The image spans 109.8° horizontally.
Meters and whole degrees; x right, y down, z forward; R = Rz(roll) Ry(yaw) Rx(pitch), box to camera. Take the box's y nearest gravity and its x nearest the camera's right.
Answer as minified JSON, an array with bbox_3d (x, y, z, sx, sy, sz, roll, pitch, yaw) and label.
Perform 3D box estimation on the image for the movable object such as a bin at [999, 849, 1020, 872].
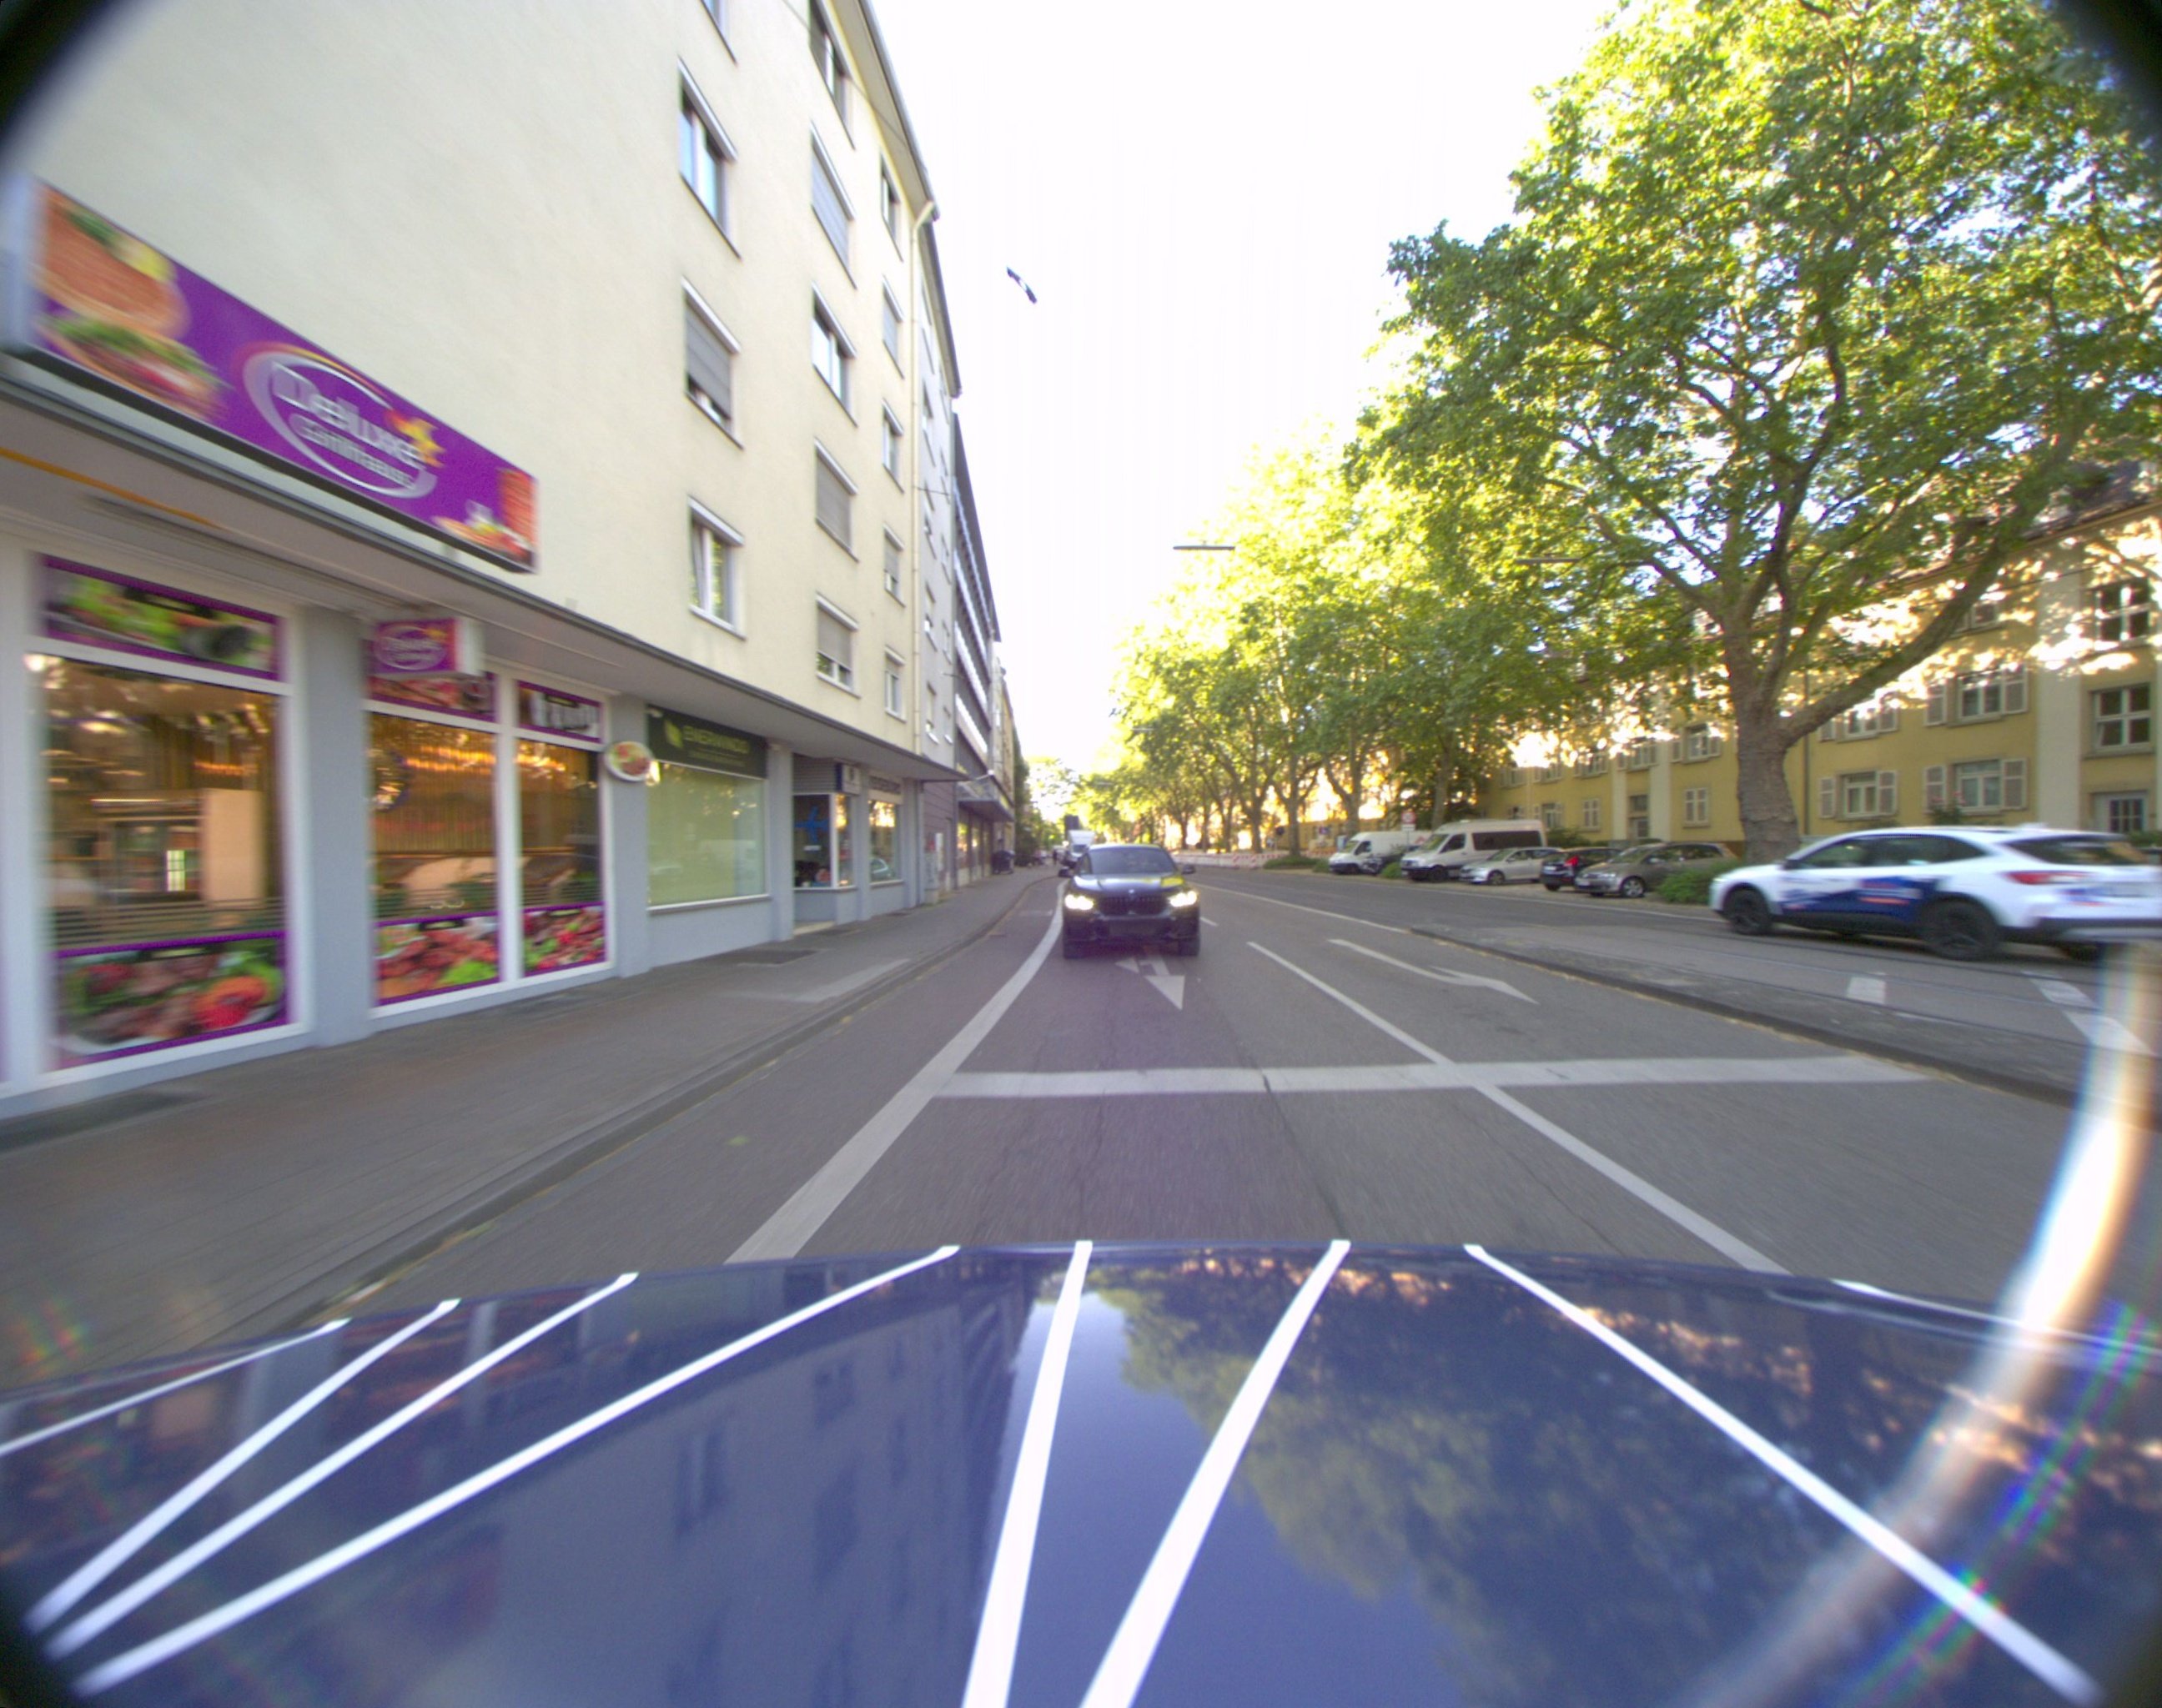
[{"bbox_3d":[-4.505,0.399,48.000,1.203,1.402,1.372,-1,1,0],"label":"movable object such as a bin"}]

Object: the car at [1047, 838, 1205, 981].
[{"bbox_3d":[0.595,0.654,11.949,1.930,1.742,4.682,-2,1,1],"label":"car"}]

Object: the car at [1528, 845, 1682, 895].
[{"bbox_3d":[17.099,0.504,24.928,3.861,1.438,1.693,-2,2,1],"label":"car"}]

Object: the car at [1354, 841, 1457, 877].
[{"bbox_3d":[16.635,0.248,39.102,4.540,1.624,1.693,-2,2,1],"label":"car"}]

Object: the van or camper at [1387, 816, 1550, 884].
[{"bbox_3d":[16.692,-0.201,32.902,5.932,2.633,2.155,-2,2,-1],"label":"van or camper"}]

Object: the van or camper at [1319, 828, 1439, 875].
[{"bbox_3d":[16.490,-0.151,42.275,5.763,2.371,2.155,-2,2,-1],"label":"van or camper"}]

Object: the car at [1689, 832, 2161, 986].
[{"bbox_3d":[11.276,0.567,10.428,1.999,1.622,4.629,-1,0,-3],"label":"car"}]

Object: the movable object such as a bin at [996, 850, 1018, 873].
[{"bbox_3d":[-4.465,0.443,46.001,1.203,1.402,1.372,-1,1,0],"label":"movable object such as a bin"}]

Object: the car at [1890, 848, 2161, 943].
[{"bbox_3d":[17.110,0.672,13.217,4.080,1.361,1.844,-2,2,1],"label":"car"}]

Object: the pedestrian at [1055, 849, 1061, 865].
[{"bbox_3d":[-2.167,0.283,71.196,0.541,1.437,0.630,-1,1,0],"label":"pedestrian"}]

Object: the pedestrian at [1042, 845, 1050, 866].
[{"bbox_3d":[-2.808,0.153,60.737,0.541,1.662,0.630,-1,1,0],"label":"pedestrian"}]

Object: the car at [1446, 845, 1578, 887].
[{"bbox_3d":[17.030,0.466,30.142,4.276,1.438,1.693,-2,2,1],"label":"car"}]

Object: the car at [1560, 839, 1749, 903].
[{"bbox_3d":[16.620,0.459,22.166,4.080,1.610,1.844,-2,2,1],"label":"car"}]

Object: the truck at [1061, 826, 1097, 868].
[{"bbox_3d":[-0.199,-0.600,60.728,2.344,3.096,5.209,-2,1,-5],"label":"truck"}]

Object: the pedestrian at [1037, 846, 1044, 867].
[{"bbox_3d":[-3.350,0.190,63.289,0.541,1.712,0.630,-1,1,0],"label":"pedestrian"}]

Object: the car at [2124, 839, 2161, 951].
[{"bbox_3d":[17.671,0.542,10.451,4.080,1.602,1.844,-2,2,1],"label":"car"}]
